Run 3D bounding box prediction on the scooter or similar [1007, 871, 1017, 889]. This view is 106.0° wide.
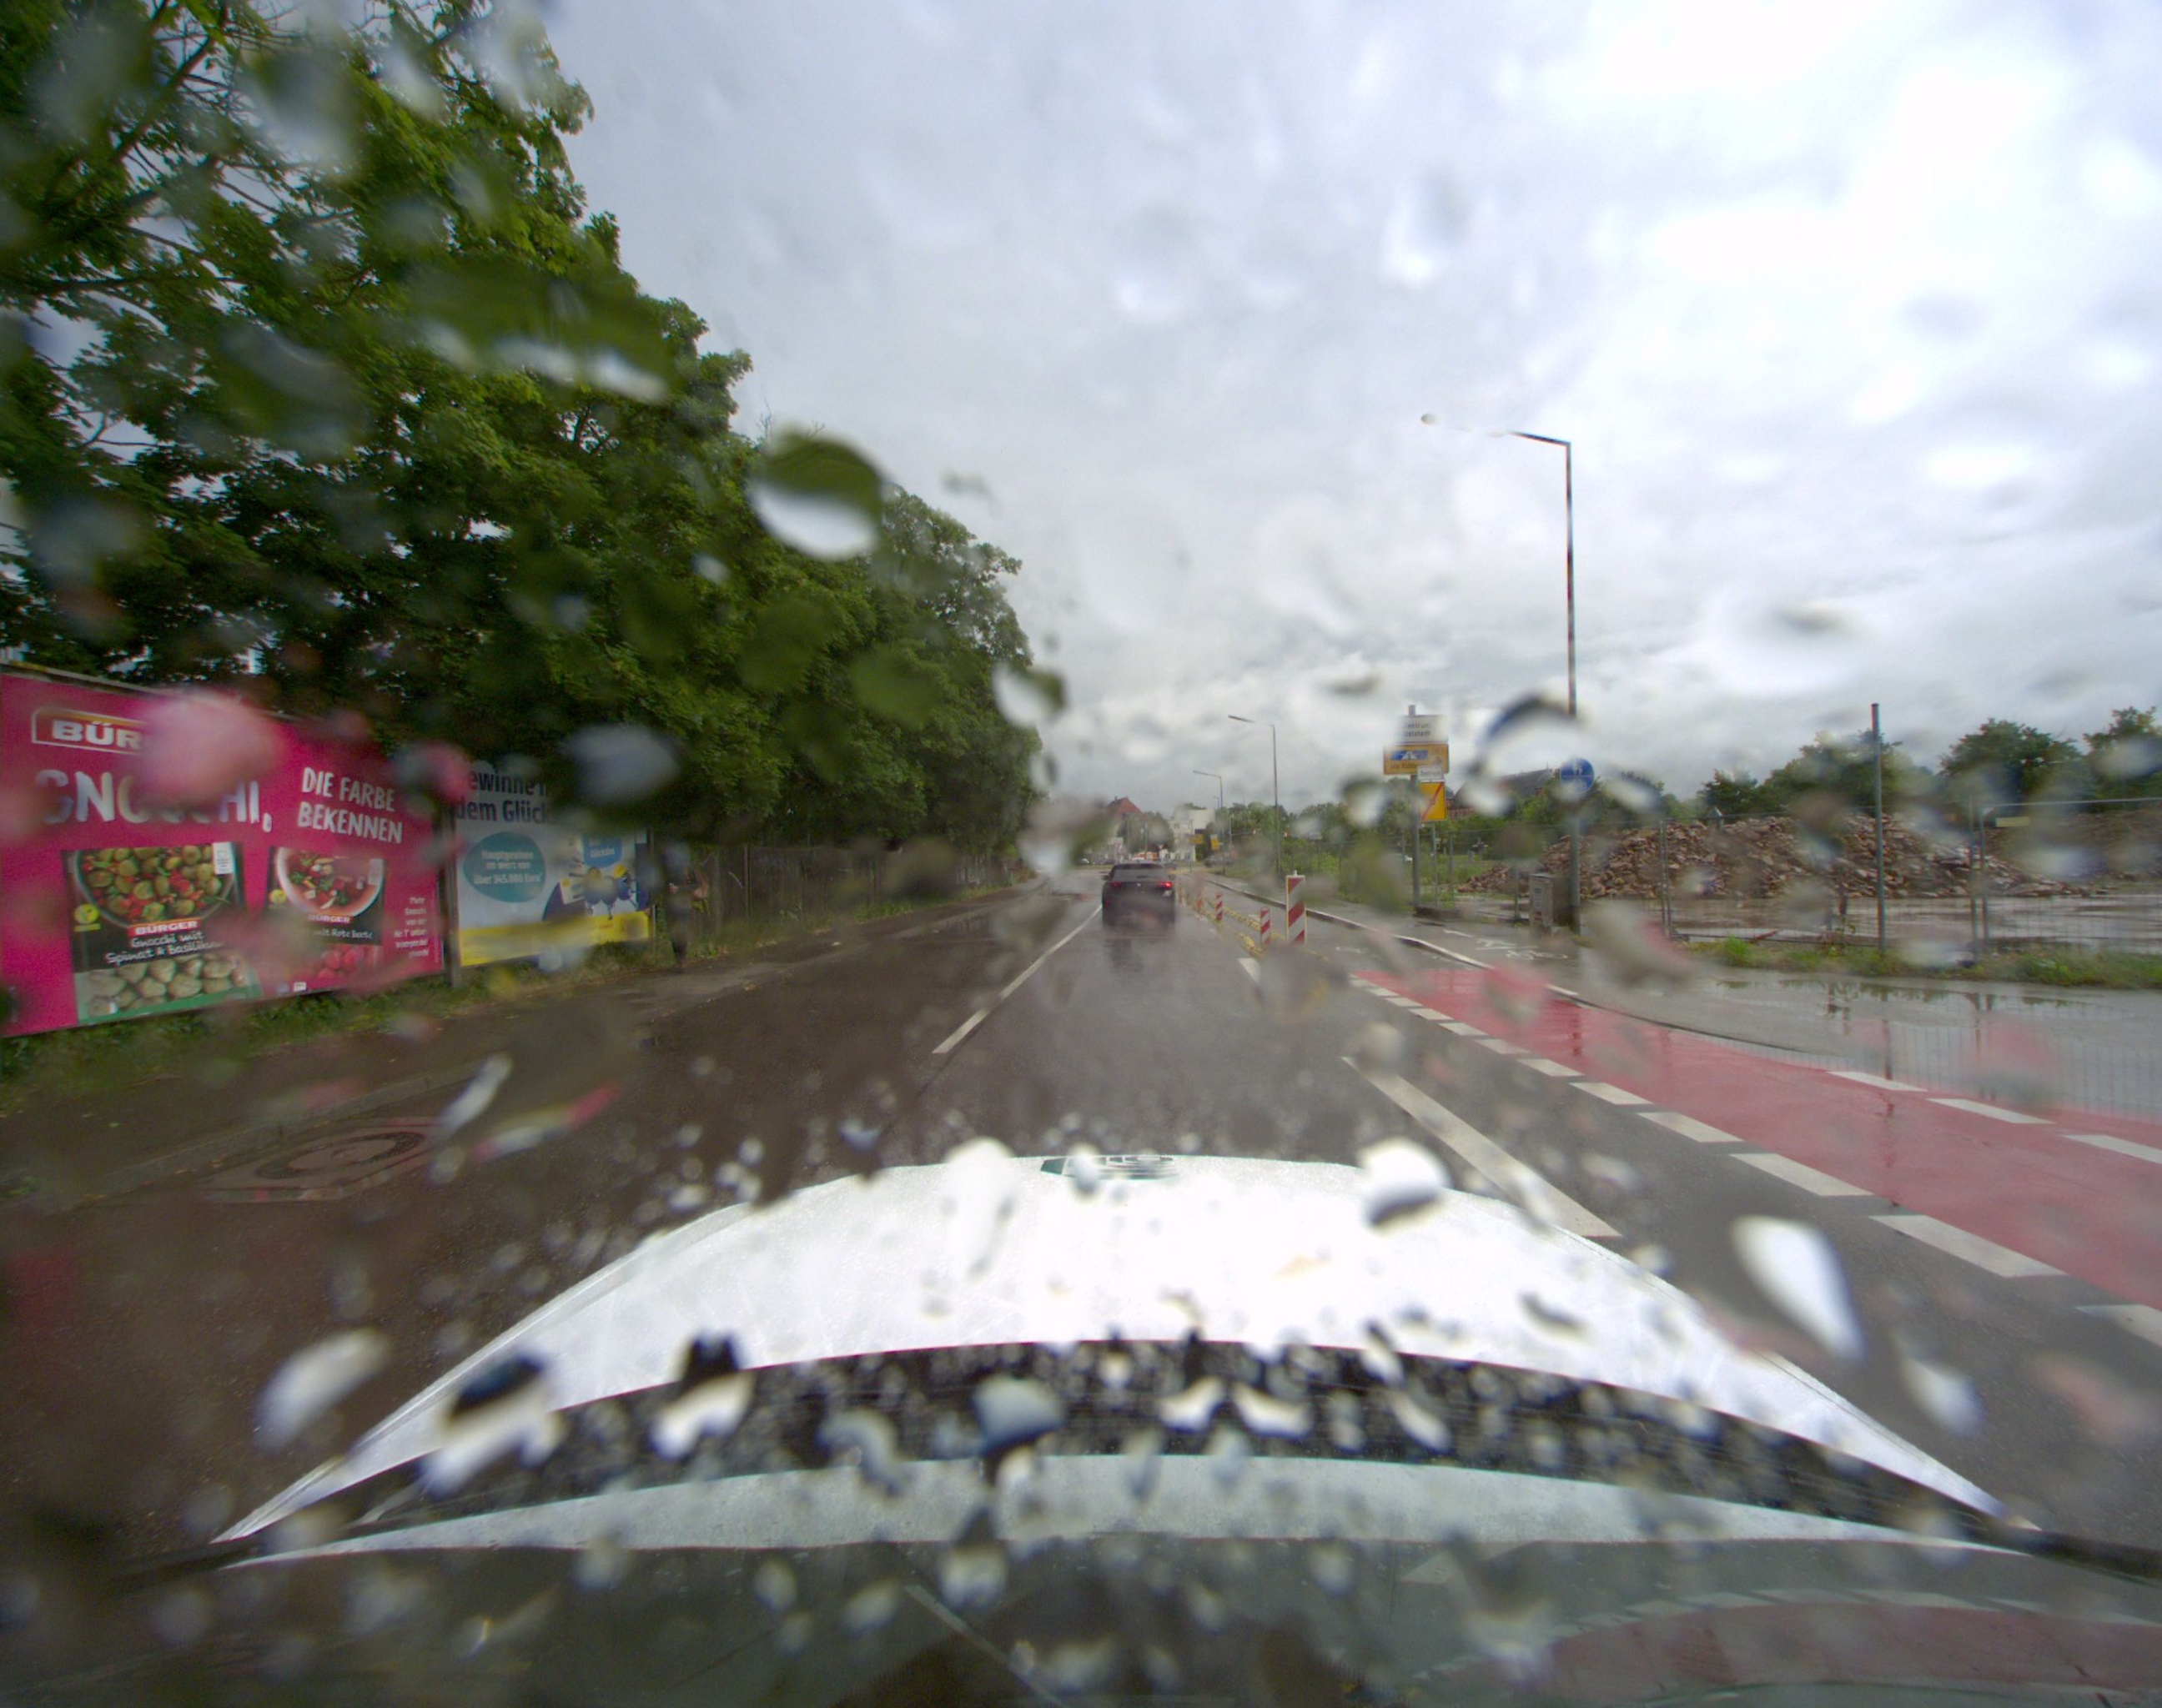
[{"bbox_3d":[-4.581,1.725,54.232,0.561,1.162,1.207,-2,-1,-3],"label":"scooter or similar"}]

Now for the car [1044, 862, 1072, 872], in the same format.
[{"bbox_3d":[-4.494,2.495,160.127,5.155,1.876,1.873,-1,-1,-36],"label":"car"}]

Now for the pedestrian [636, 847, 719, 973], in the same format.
[{"bbox_3d":[-5.895,0.802,11.931,0.835,1.769,0.645,-2,-1,3],"label":"pedestrian"}]

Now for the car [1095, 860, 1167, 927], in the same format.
[{"bbox_3d":[1.223,0.958,21.166,1.702,1.574,3.683,-1,-1,1],"label":"car"}]

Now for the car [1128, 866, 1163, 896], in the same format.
[{"bbox_3d":[3.503,1.459,44.875,1.728,1.514,3.605,-1,-1,2],"label":"car"}]

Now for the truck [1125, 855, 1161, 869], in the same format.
[{"bbox_3d":[12.651,1.676,166.026,7.031,2.650,2.333,-1,-1,5],"label":"truck"}]

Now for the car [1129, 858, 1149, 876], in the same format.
[{"bbox_3d":[6.057,1.319,84.960,1.857,1.809,4.405,-1,-1,1],"label":"car"}]

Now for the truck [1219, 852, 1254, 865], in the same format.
[{"bbox_3d":[31.956,0.982,167.248,6.637,2.443,2.449,-2,-1,33],"label":"truck"}]
